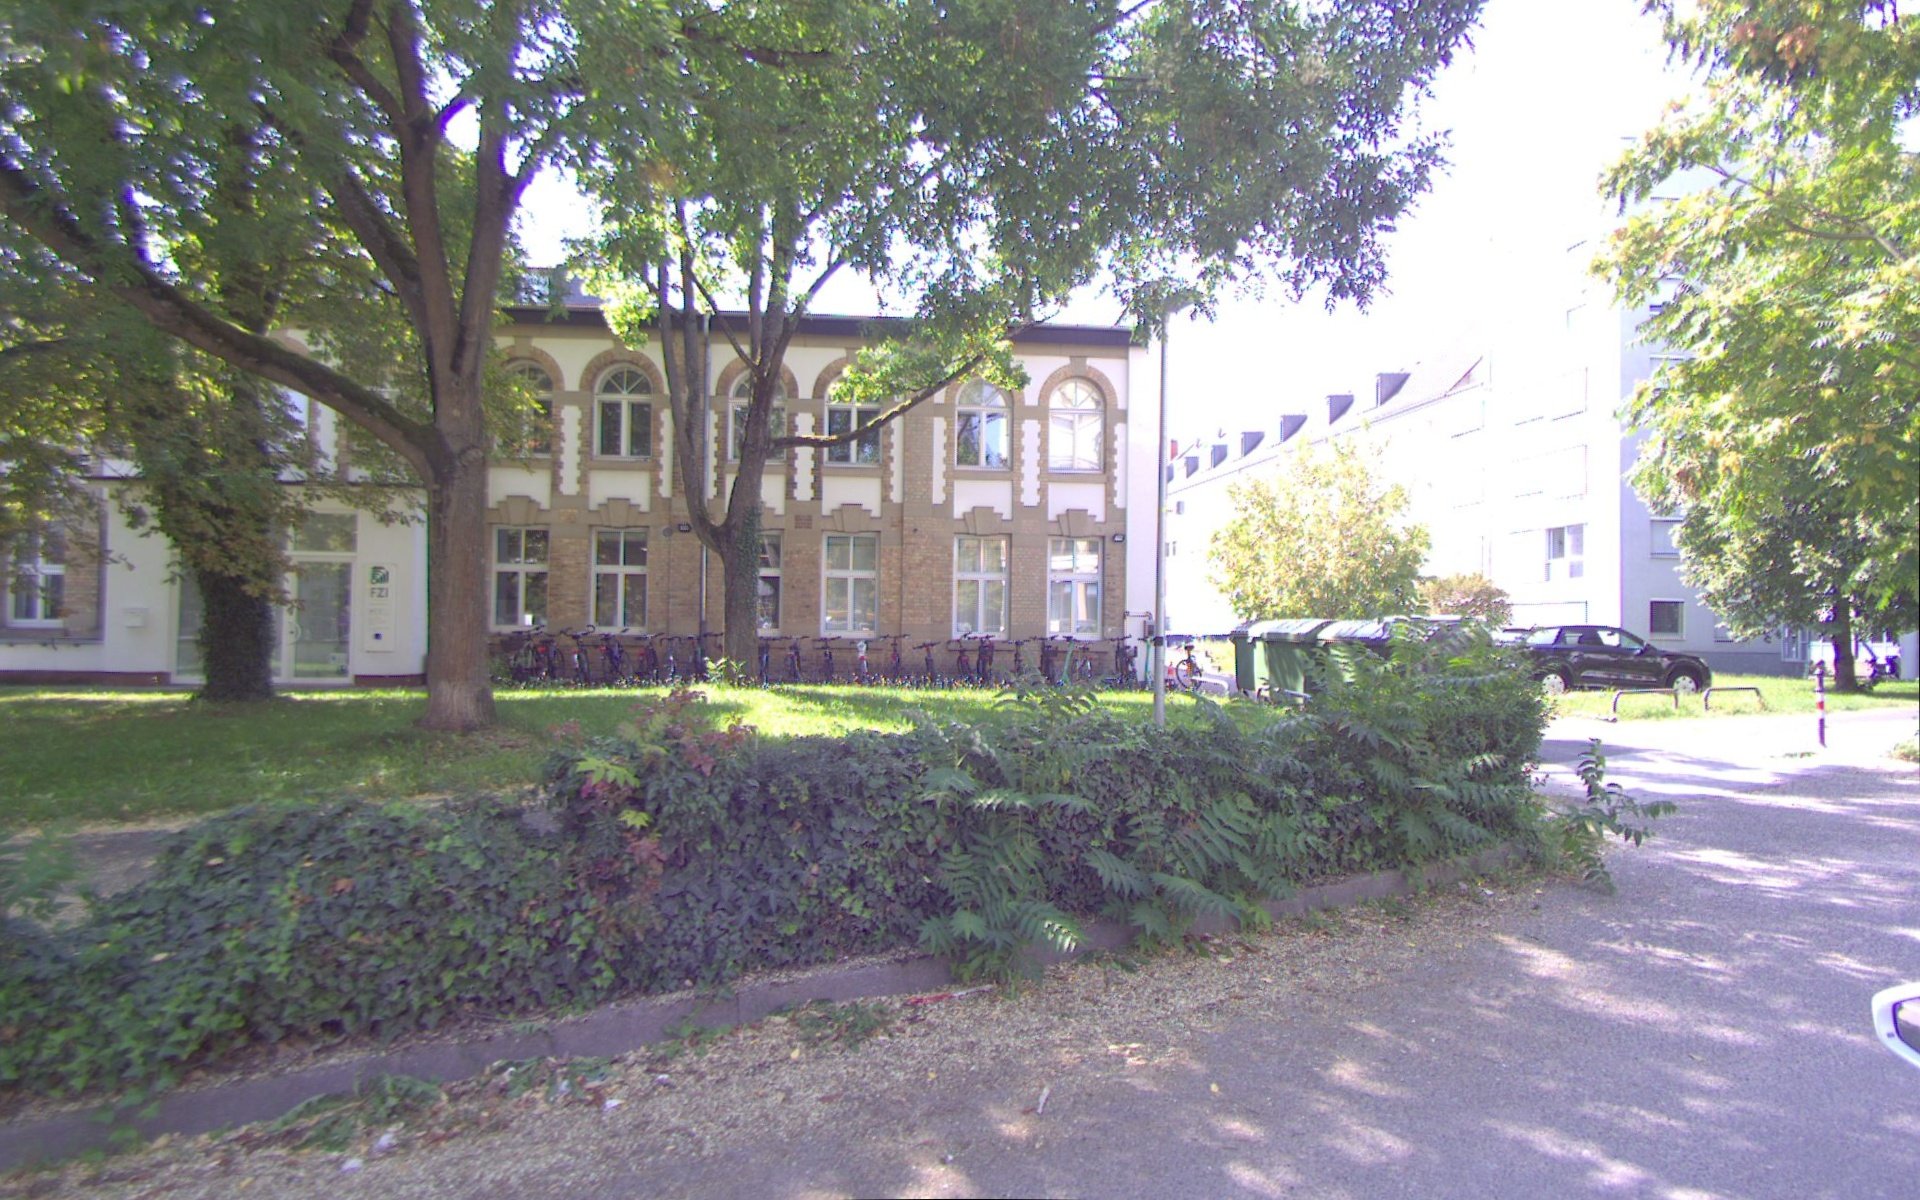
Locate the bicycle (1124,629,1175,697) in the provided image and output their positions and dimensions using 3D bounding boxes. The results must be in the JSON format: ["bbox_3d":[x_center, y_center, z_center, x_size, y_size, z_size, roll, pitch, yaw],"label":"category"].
[{"bbox_3d":[3.906,1.289,20.846,0.597,1.319,2.174,1,-2,-1],"label":"bicycle"}]

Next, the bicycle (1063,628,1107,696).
[{"bbox_3d":[2.561,1.259,20.763,0.597,1.319,2.174,1,-2,-1],"label":"bicycle"}]

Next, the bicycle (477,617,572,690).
[{"bbox_3d":[-8.343,1.018,19.392,0.757,1.319,2.526,1,-2,-1],"label":"bicycle"}]

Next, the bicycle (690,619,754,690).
[{"bbox_3d":[-4.749,1.081,20.182,0.757,1.319,2.273,1,-2,-1],"label":"bicycle"}]

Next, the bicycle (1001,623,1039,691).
[{"bbox_3d":[1.222,1.159,20.698,0.597,1.319,2.174,1,-2,-1],"label":"bicycle"}]

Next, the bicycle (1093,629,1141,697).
[{"bbox_3d":[3.235,1.279,20.812,0.597,1.319,2.174,1,-2,-1],"label":"bicycle"}]

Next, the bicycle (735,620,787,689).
[{"bbox_3d":[-3.988,1.086,20.295,0.615,1.319,2.273,1,-2,-1],"label":"bicycle"}]

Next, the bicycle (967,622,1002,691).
[{"bbox_3d":[0.481,1.136,20.513,0.597,1.319,2.174,1,-2,-1],"label":"bicycle"}]

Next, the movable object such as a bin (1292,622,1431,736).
[{"bbox_3d":[5.437,1.041,13.680,1.228,1.451,1.329,1,-1,-11],"label":"movable object such as a bin"}]

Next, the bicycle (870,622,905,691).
[{"bbox_3d":[-1.454,1.132,20.407,0.597,1.319,2.174,1,-2,-1],"label":"bicycle"}]

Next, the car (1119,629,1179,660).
[{"bbox_3d":[9.608,2.269,51.455,1.767,1.530,3.994,1,-2,-9],"label":"car"}]

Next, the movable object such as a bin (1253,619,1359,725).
[{"bbox_3d":[5.101,1.037,14.877,1.082,1.501,1.099,1,-1,-11],"label":"movable object such as a bin"}]

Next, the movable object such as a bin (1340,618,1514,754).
[{"bbox_3d":[5.585,0.986,12.093,1.315,1.513,1.367,1,-1,-19],"label":"movable object such as a bin"}]

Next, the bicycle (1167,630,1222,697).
[{"bbox_3d":[4.876,1.309,21.007,0.597,1.319,2.174,1,-2,-1],"label":"bicycle"}]

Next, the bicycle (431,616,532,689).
[{"bbox_3d":[-9.219,1.003,19.491,0.757,1.319,2.526,1,-2,-1],"label":"bicycle"}]

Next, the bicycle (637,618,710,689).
[{"bbox_3d":[-5.692,1.063,20.110,0.757,1.319,2.526,1,-2,-1],"label":"bicycle"}]

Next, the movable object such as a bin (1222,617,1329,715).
[{"bbox_3d":[5.093,1.049,16.303,1.227,1.515,1.204,1,-1,-11],"label":"movable object such as a bin"}]

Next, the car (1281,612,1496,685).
[{"bbox_3d":[11.880,1.336,28.136,4.986,1.906,2.502,1,-2,-2],"label":"car"}]

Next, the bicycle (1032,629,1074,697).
[{"bbox_3d":[1.894,1.269,20.624,0.597,1.319,2.174,1,-2,-1],"label":"bicycle"}]

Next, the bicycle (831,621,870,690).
[{"bbox_3d":[-2.215,1.124,20.549,0.597,1.319,2.174,1,-2,-1],"label":"bicycle"}]

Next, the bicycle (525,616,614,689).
[{"bbox_3d":[-7.561,1.019,19.587,0.757,1.319,2.526,1,-2,-1],"label":"bicycle"}]

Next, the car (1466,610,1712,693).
[{"bbox_3d":[12.451,1.006,20.055,3.834,1.548,1.708,1,-2,1],"label":"car"}]

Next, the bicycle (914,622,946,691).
[{"bbox_3d":[-0.604,1.138,20.493,0.597,1.319,2.174,1,-2,-1],"label":"bicycle"}]

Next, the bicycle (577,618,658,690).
[{"bbox_3d":[-6.680,1.048,19.753,0.757,1.319,2.526,1,-2,-1],"label":"bicycle"}]

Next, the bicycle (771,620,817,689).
[{"bbox_3d":[-3.342,1.099,20.363,0.597,1.319,2.174,1,-2,-1],"label":"bicycle"}]

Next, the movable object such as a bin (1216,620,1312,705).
[{"bbox_3d":[5.437,1.106,18.063,1.227,1.463,1.204,1,-1,-11],"label":"movable object such as a bin"}]
